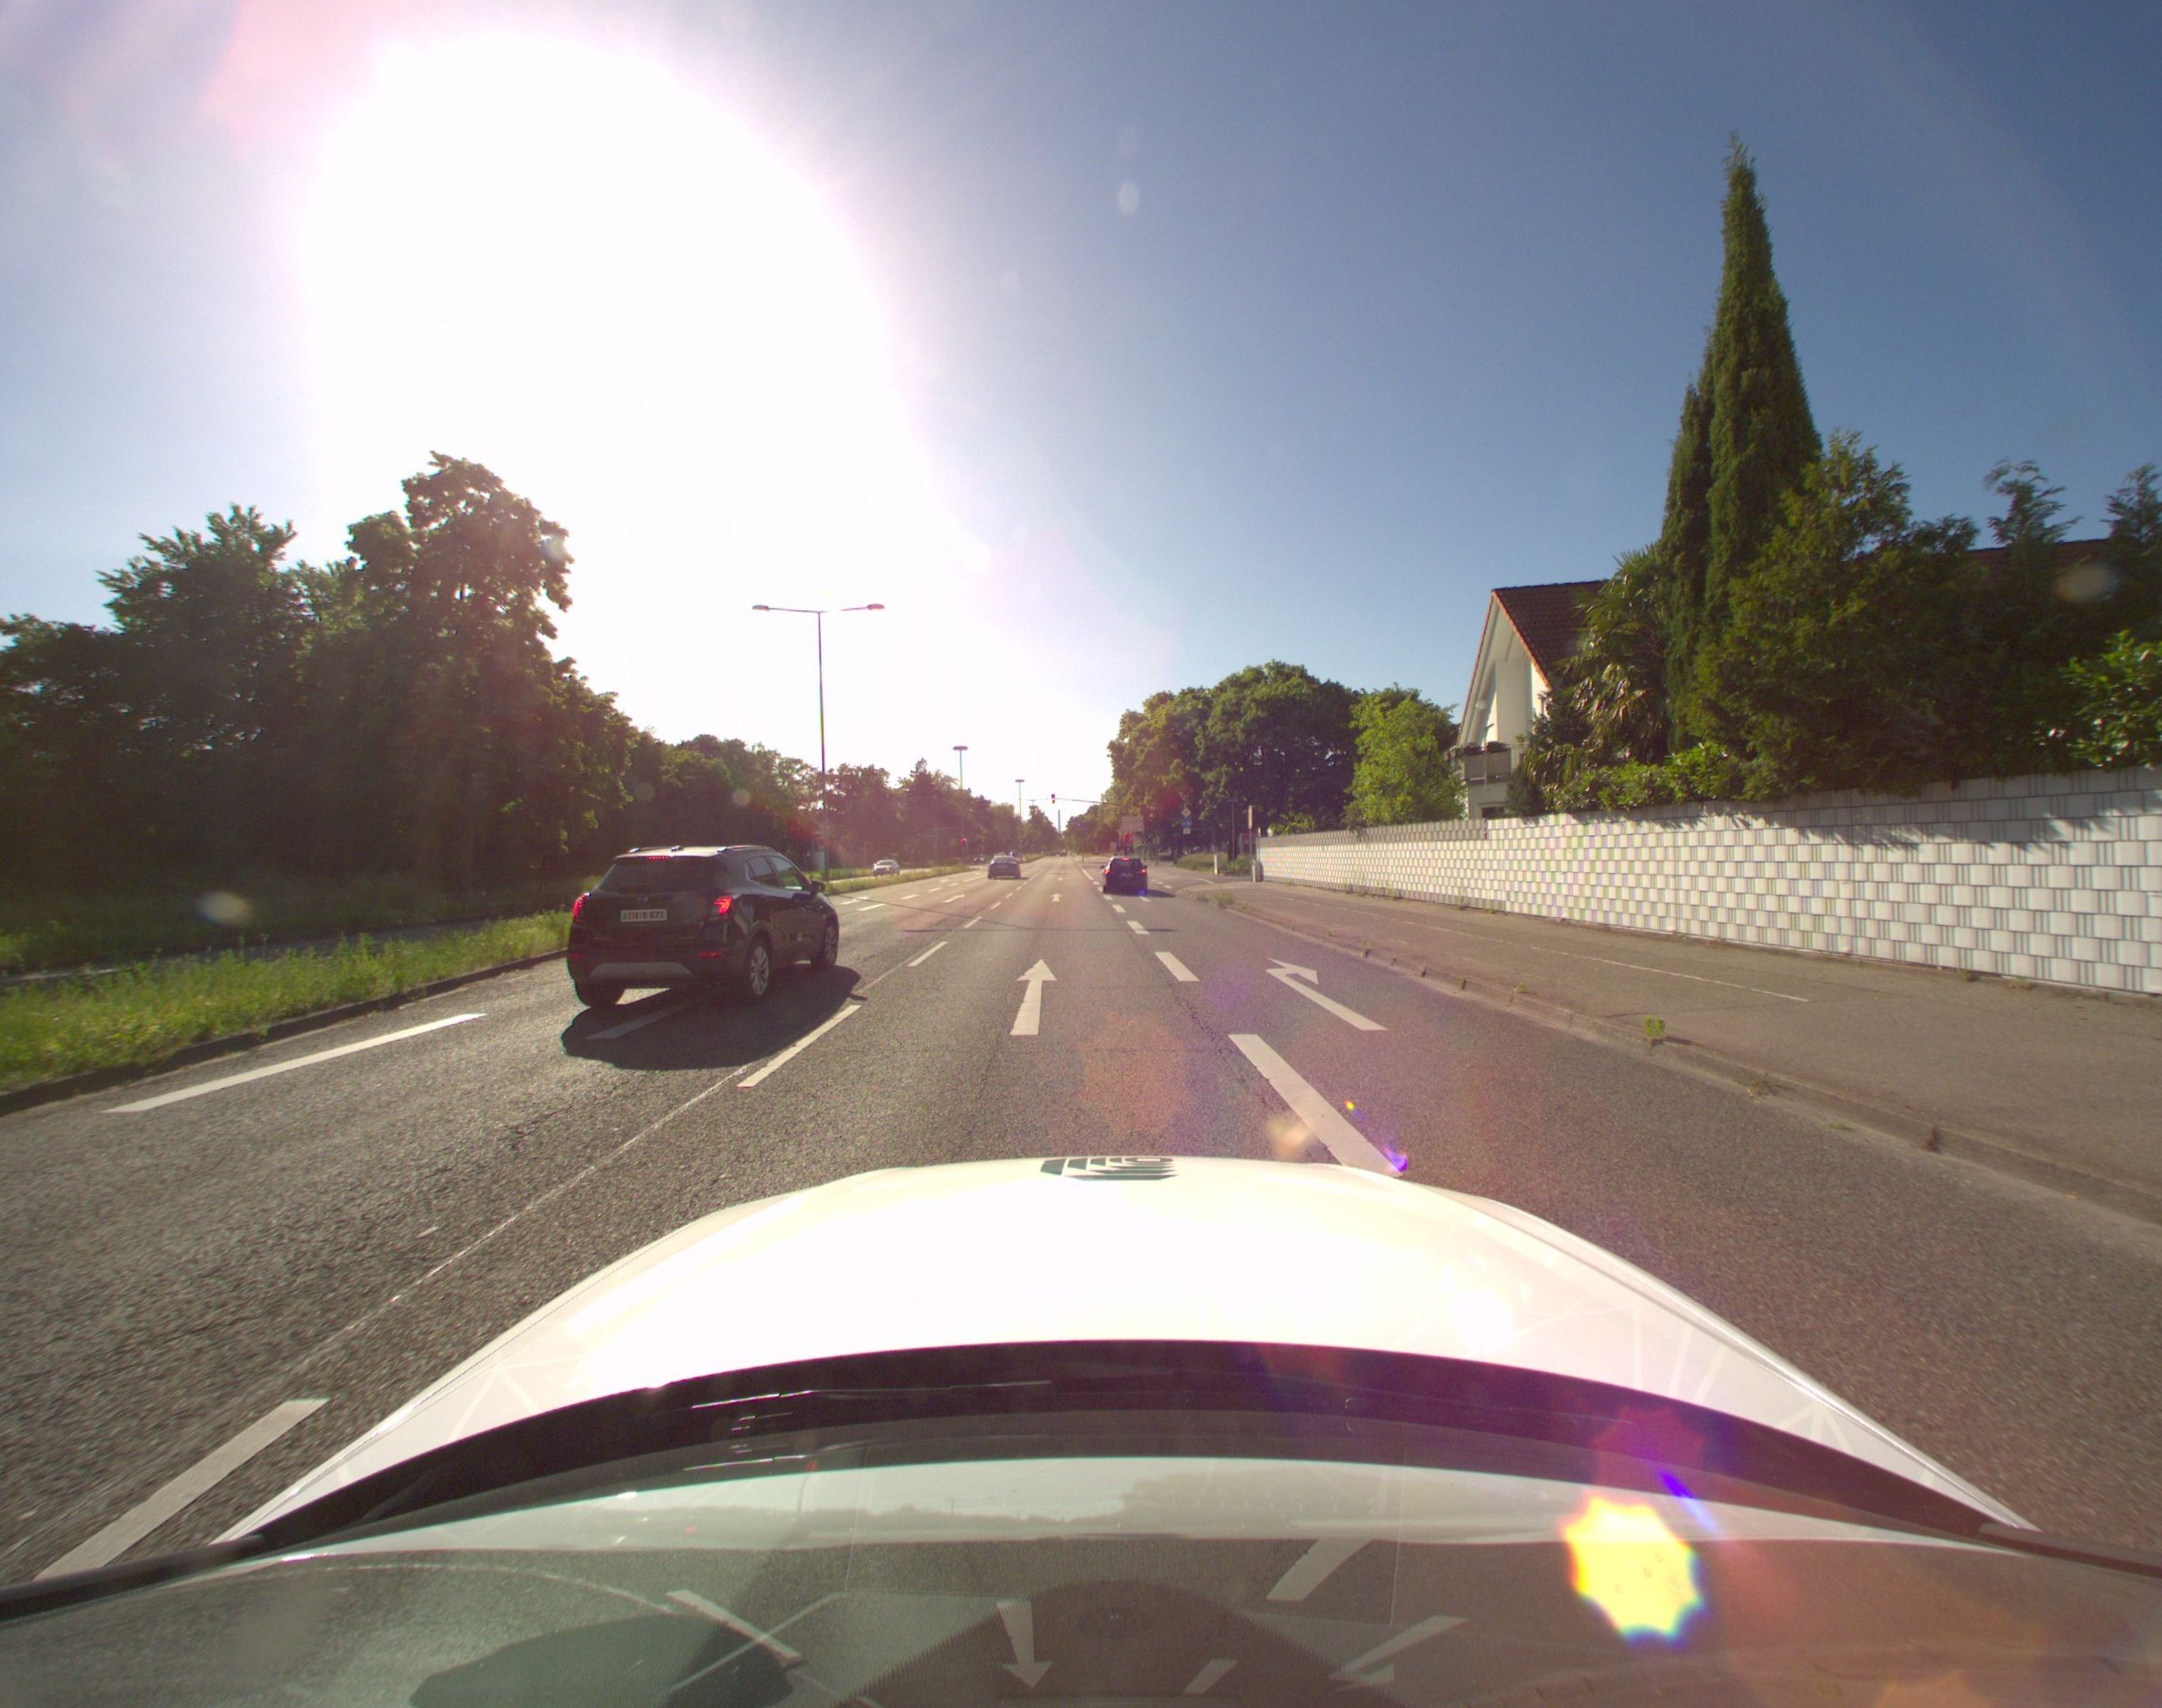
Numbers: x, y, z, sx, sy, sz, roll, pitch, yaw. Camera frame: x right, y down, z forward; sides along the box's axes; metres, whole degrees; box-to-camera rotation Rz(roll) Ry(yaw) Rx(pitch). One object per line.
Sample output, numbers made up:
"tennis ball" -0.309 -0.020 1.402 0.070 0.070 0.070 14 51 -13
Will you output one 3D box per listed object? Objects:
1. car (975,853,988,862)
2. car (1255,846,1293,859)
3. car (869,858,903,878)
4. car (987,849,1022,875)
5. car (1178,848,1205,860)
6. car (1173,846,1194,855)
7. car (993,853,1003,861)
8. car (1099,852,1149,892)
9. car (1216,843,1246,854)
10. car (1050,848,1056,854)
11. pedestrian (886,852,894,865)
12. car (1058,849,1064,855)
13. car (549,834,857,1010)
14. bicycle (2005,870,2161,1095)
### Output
"car" -18.463 0.646 151.518 1.858 1.684 4.258 -1 0 -1
"car" 21.143 -0.176 89.409 3.816 1.460 1.737 0 -1 -1
"car" -17.387 1.246 72.801 1.906 1.703 4.405 2 -2 -1
"car" -4.793 0.543 51.201 1.883 1.552 3.998 0 -1 -1
"car" 17.032 -0.040 125.312 3.732 1.685 1.689 2 -1 -28
"car" 20.013 -0.717 158.685 3.704 1.685 1.702 2 -1 -4
"car" -19.300 0.727 189.539 1.858 1.684 3.998 2 -1 -1
"car" 1.701 0.716 32.983 1.750 1.509 3.806 1 -1 -1
"car" 21.392 -0.787 116.203 3.849 1.482 1.793 2 -1 -21
"car" -8.254 -0.881 240.959 1.819 1.615 3.838 -1 0 -2
"pedestrian" -27.542 0.632 117.436 0.842 1.836 0.550 0 -3 2
"car" -5.180 -0.542 211.295 1.727 1.585 3.838 2 -1 -1
"car" -4.141 0.661 9.834 1.691 1.632 4.415 0 -1 -1
"bicycle" 6.024 0.697 3.982 0.572 1.155 2.141 -3 0 2
